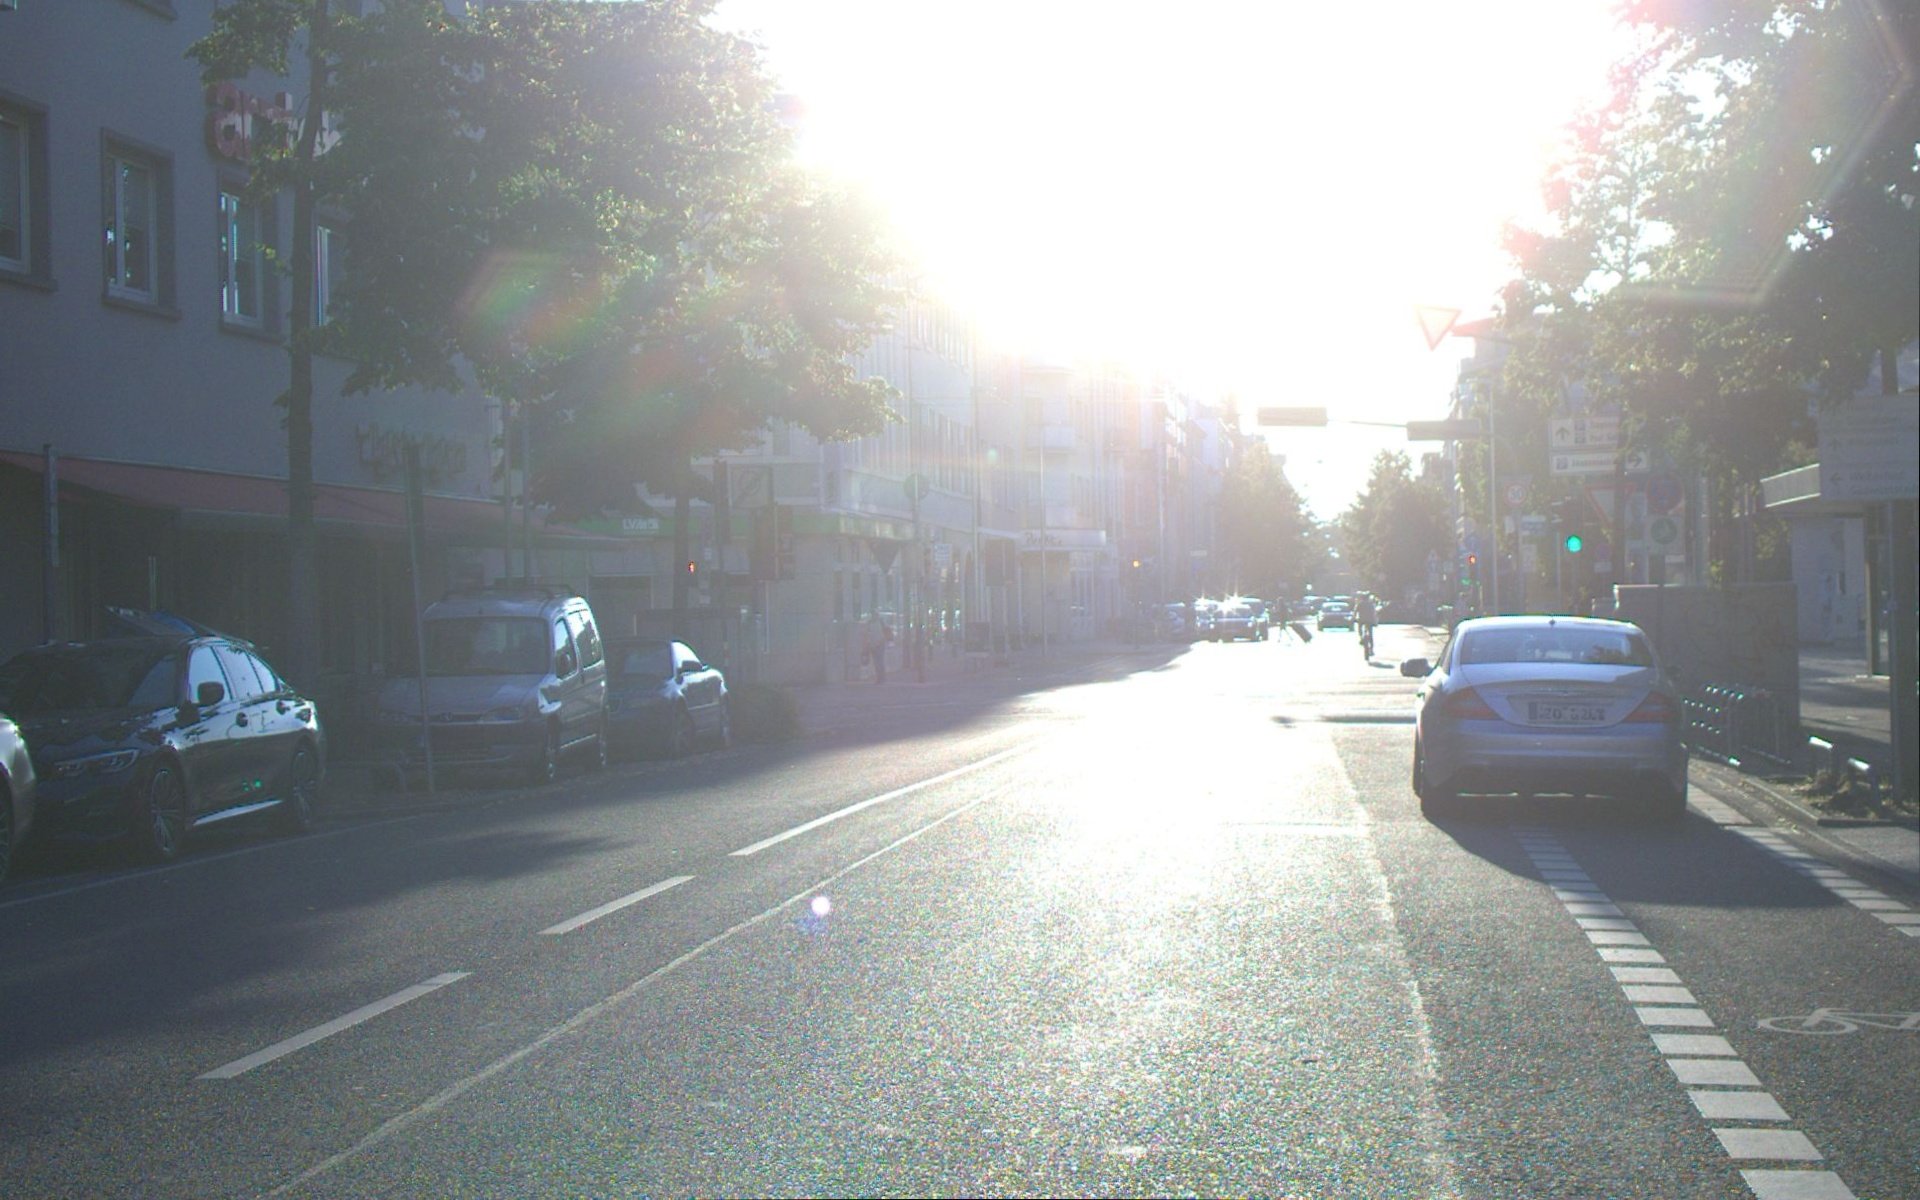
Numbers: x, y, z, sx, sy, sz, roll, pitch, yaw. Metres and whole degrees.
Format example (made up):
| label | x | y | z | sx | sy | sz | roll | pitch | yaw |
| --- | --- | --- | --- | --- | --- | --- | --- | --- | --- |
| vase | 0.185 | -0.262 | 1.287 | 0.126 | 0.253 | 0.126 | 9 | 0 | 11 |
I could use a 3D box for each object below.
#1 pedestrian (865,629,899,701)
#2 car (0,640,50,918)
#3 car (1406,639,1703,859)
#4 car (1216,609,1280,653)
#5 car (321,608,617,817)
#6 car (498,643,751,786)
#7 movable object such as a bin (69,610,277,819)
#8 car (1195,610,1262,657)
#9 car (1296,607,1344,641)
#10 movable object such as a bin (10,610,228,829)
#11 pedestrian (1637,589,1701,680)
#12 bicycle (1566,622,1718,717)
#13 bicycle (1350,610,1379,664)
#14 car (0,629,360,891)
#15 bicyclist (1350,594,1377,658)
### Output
| label | x | y | z | sx | sy | sz | roll | pitch | yaw |
| --- | --- | --- | --- | --- | --- | --- | --- | --- | --- |
| pedestrian | -1.716 | 1.431 | 75.967 | 0.697 | 1.543 | 0.870 | -1 | 0 | -1 |
| car | -6.475 | 1.018 | 17.023 | 1.994 | 1.506 | 5.111 | -2 | 0 | 7 |
| car | 4.225 | 1.010 | 25.026 | 1.801 | 1.373 | 4.551 | 1 | 0 | 6 |
| car | 11.656 | 1.221 | 138.834 | 2.304 | 1.673 | 5.530 | -1 | 0 | 7 |
| car | -4.539 | 0.998 | 32.391 | 1.915 | 1.781 | 4.147 | -2 | 0 | 3 |
| car | -3.668 | 1.234 | 38.355 | 1.915 | 1.381 | 4.381 | -2 | 0 | 6 |
| movable object such as a bin | -6.644 | 0.947 | 29.110 | 1.281 | 1.667 | 1.440 | 2 | 0 | 4 |
| car | 10.288 | 1.260 | 131.358 | 2.304 | 1.673 | 5.530 | -1 | 0 | 7 |
| car | 18.352 | 1.213 | 175.197 | 2.304 | 1.673 | 5.530 | -1 | 0 | 7 |
| movable object such as a bin | -6.754 | 0.942 | 27.682 | 1.280 | 1.667 | 1.369 | 2 | 0 | 4 |
| pedestrian | 13.761 | 0.660 | 66.720 | 0.805 | 1.720 | 0.992 | -3 | -2 | 35 |
| bicycle | 8.933 | 0.909 | 45.055 | 1.913 | 1.199 | 0.470 | -1 | 0 | 9 |
| bicycle | 10.882 | 0.990 | 92.531 | 0.679 | 1.397 | 2.229 | -1 | 0 | 8 |
| car | -5.612 | 0.997 | 22.943 | 1.915 | 1.506 | 4.638 | -2 | 0 | 6 |
| bicyclist | 10.863 | 0.693 | 92.507 | 0.679 | 1.702 | 0.669 | -1 | 0 | 8 |
